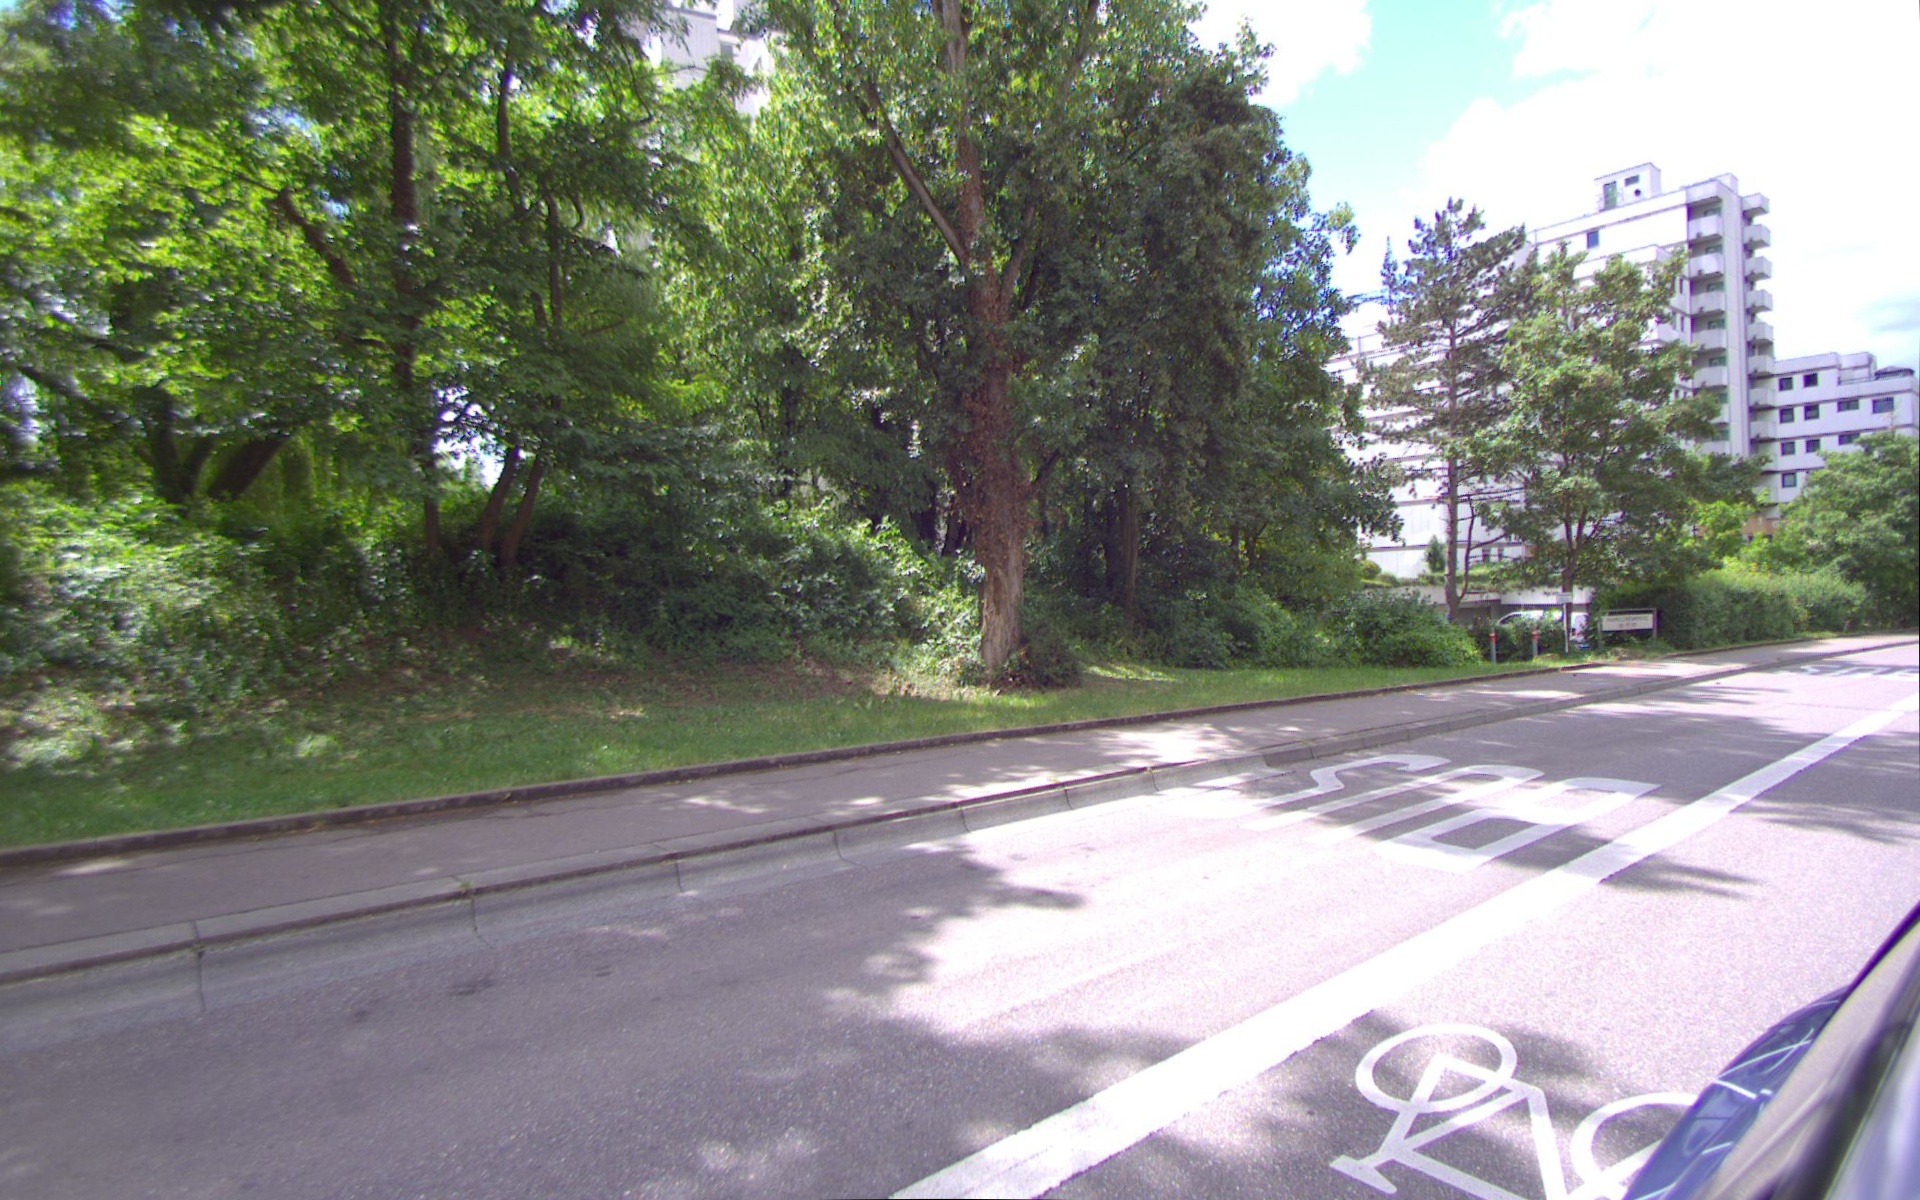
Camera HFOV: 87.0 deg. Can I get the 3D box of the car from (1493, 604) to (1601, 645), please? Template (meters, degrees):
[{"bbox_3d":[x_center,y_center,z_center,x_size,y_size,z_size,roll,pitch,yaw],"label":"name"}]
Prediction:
[{"bbox_3d":[31.037,1.237,53.643,1.962,2.039,4.549,-1,0,-34],"label":"car"}]
